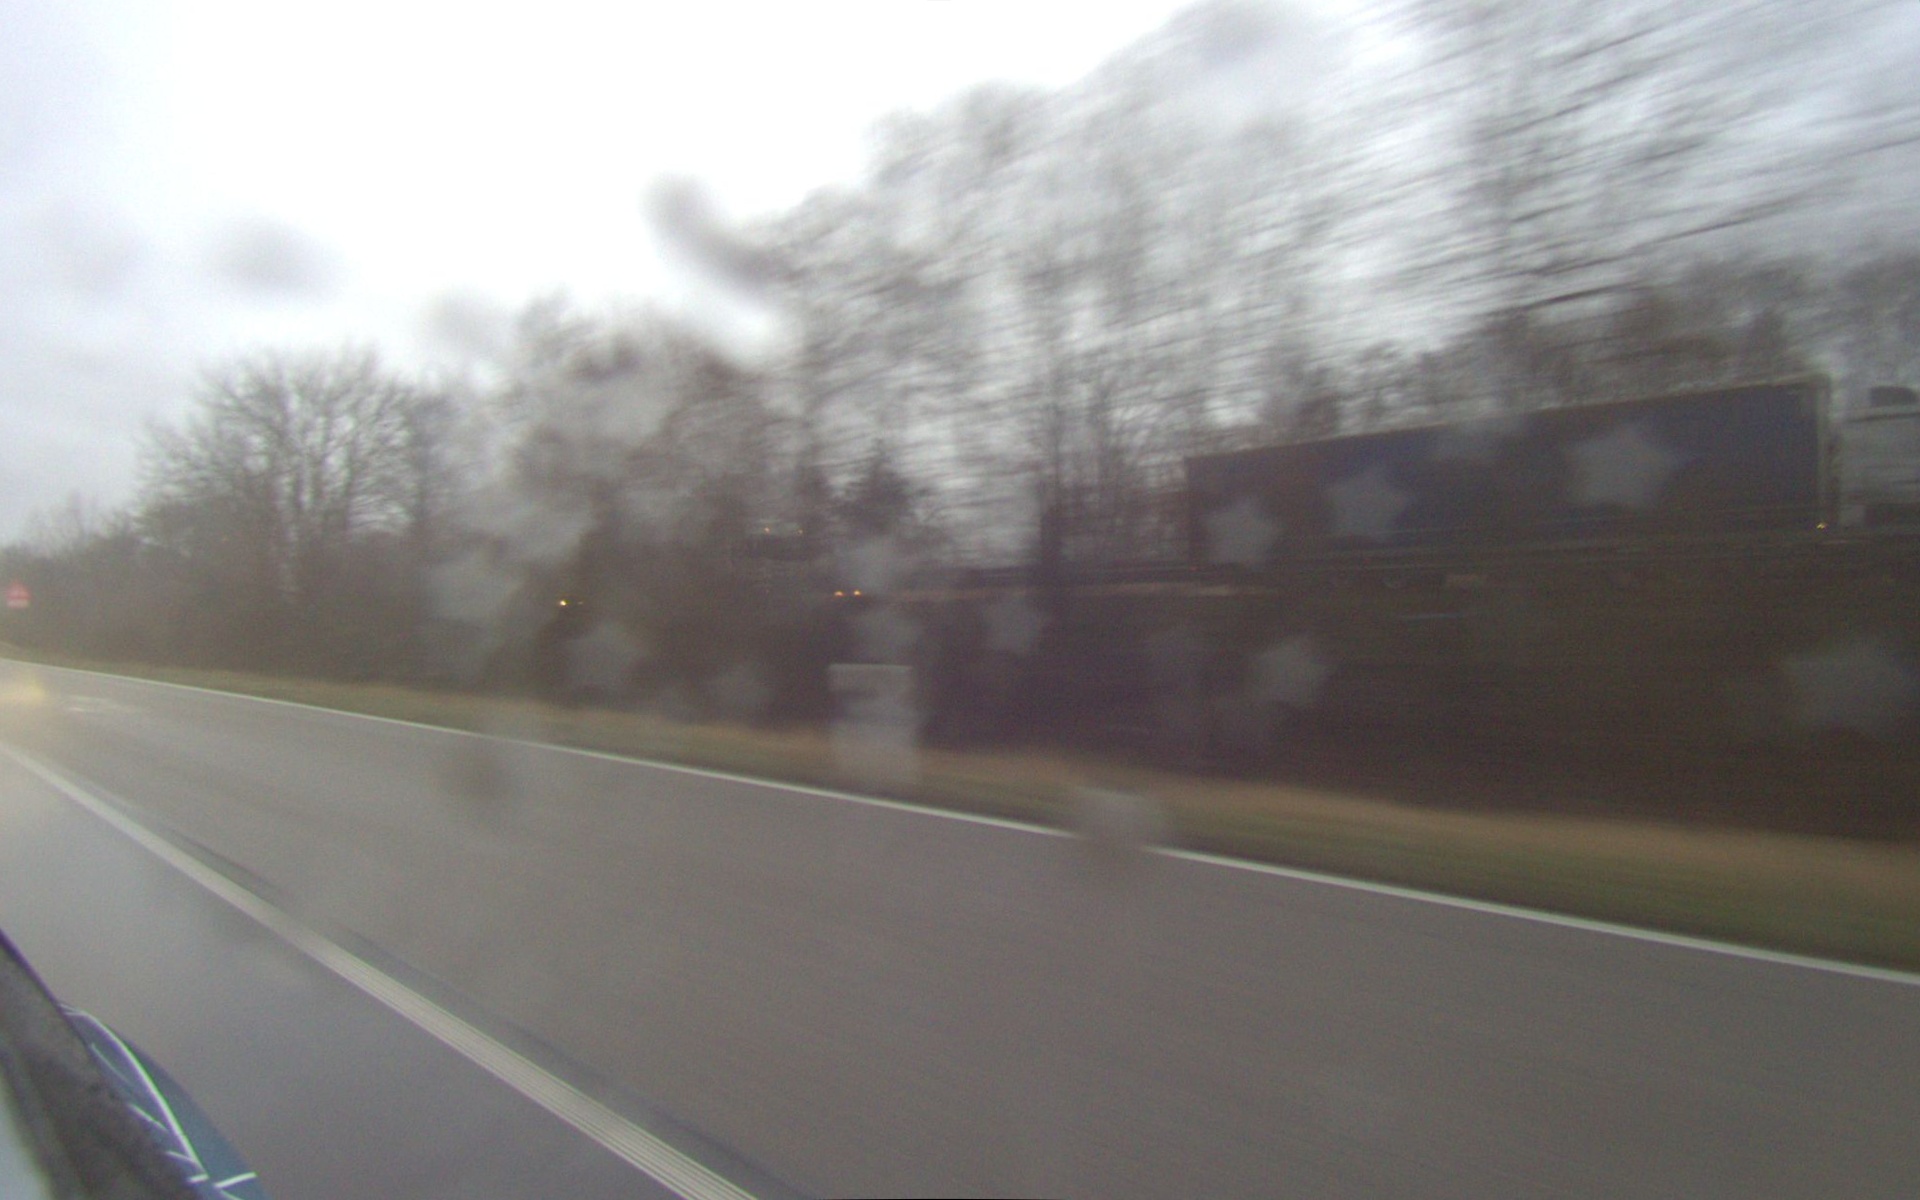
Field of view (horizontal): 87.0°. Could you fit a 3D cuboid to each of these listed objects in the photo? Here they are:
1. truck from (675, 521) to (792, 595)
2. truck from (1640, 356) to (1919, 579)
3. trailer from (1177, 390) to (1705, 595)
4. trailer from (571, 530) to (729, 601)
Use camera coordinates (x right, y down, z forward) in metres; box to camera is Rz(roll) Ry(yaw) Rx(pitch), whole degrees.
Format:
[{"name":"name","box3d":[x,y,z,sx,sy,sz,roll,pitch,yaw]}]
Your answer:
[{"name":"truck","box3d":[-10.234,-1.783,45.440,5.583,2.909,2.423,-2,-2,43]},{"name":"truck","box3d":[17.040,-2.397,19.527,6.067,3.660,2.960,-2,-2,43]},{"name":"trailer","box3d":[11.162,-2.167,25.031,11.386,3.661,2.966,-2,-2,43]},{"name":"trailer","box3d":[-15.732,-1.547,50.595,11.085,2.913,2.409,-2,-2,43]}]
